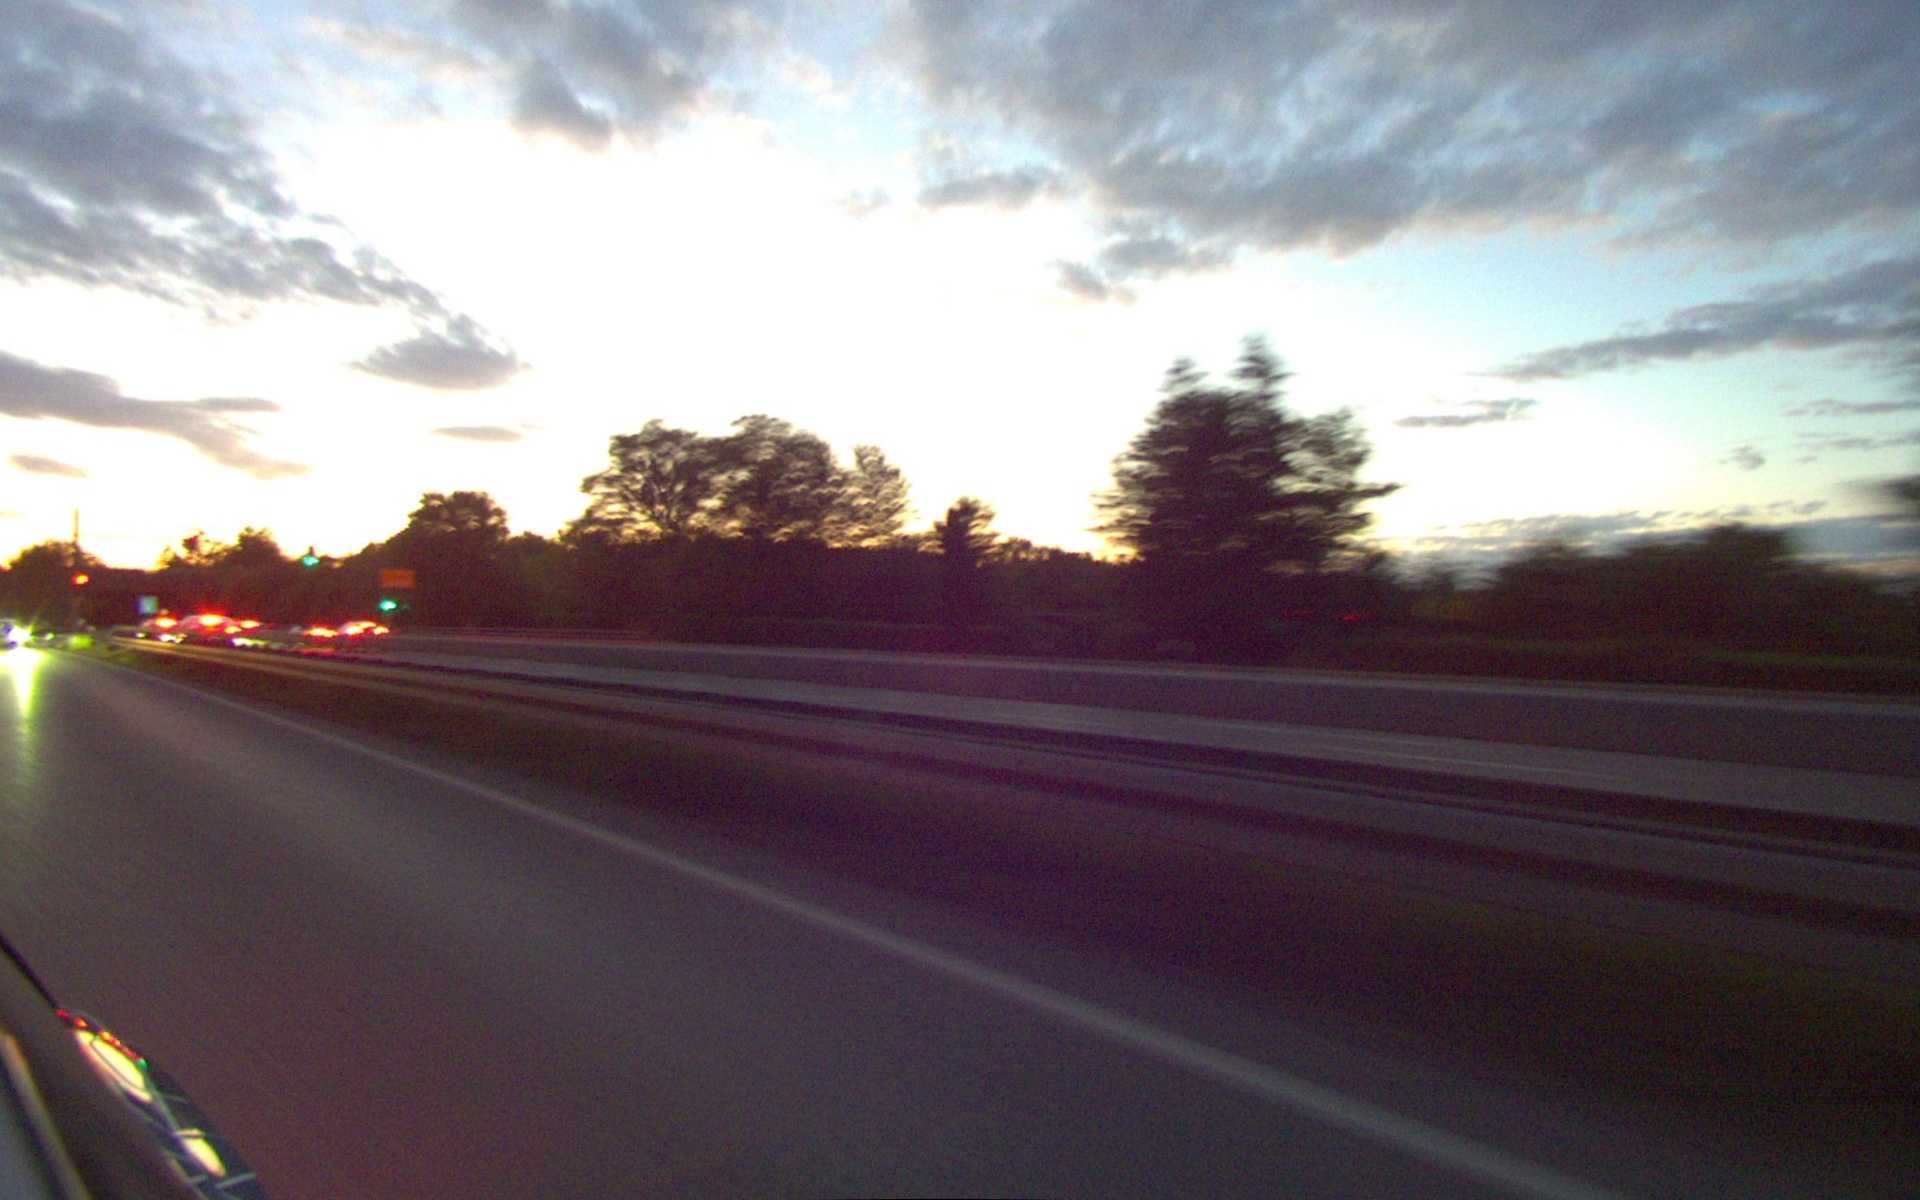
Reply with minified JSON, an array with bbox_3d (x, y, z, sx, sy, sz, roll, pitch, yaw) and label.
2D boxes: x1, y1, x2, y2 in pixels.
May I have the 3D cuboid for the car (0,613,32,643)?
[{"bbox_3d":[-48.861,1.390,51.704,1.970,1.464,4.738,1,-1,-44],"label":"car"}]

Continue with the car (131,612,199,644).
[{"bbox_3d":[-38.333,1.355,48.766,1.971,1.464,5.050,3,-3,-45],"label":"car"}]

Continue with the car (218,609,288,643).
[{"bbox_3d":[-37.285,1.356,53.330,4.873,1.694,1.972,0,-1,43],"label":"car"}]

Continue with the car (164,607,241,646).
[{"bbox_3d":[-32.323,1.137,43.137,1.970,1.582,4.825,3,-3,-44],"label":"car"}]

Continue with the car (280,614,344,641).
[{"bbox_3d":[-36.866,1.596,57.515,4.735,1.464,1.971,-2,-3,43],"label":"car"}]

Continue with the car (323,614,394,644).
[{"bbox_3d":[-30.764,1.455,51.695,4.736,1.464,1.971,-1,-2,44],"label":"car"}]
